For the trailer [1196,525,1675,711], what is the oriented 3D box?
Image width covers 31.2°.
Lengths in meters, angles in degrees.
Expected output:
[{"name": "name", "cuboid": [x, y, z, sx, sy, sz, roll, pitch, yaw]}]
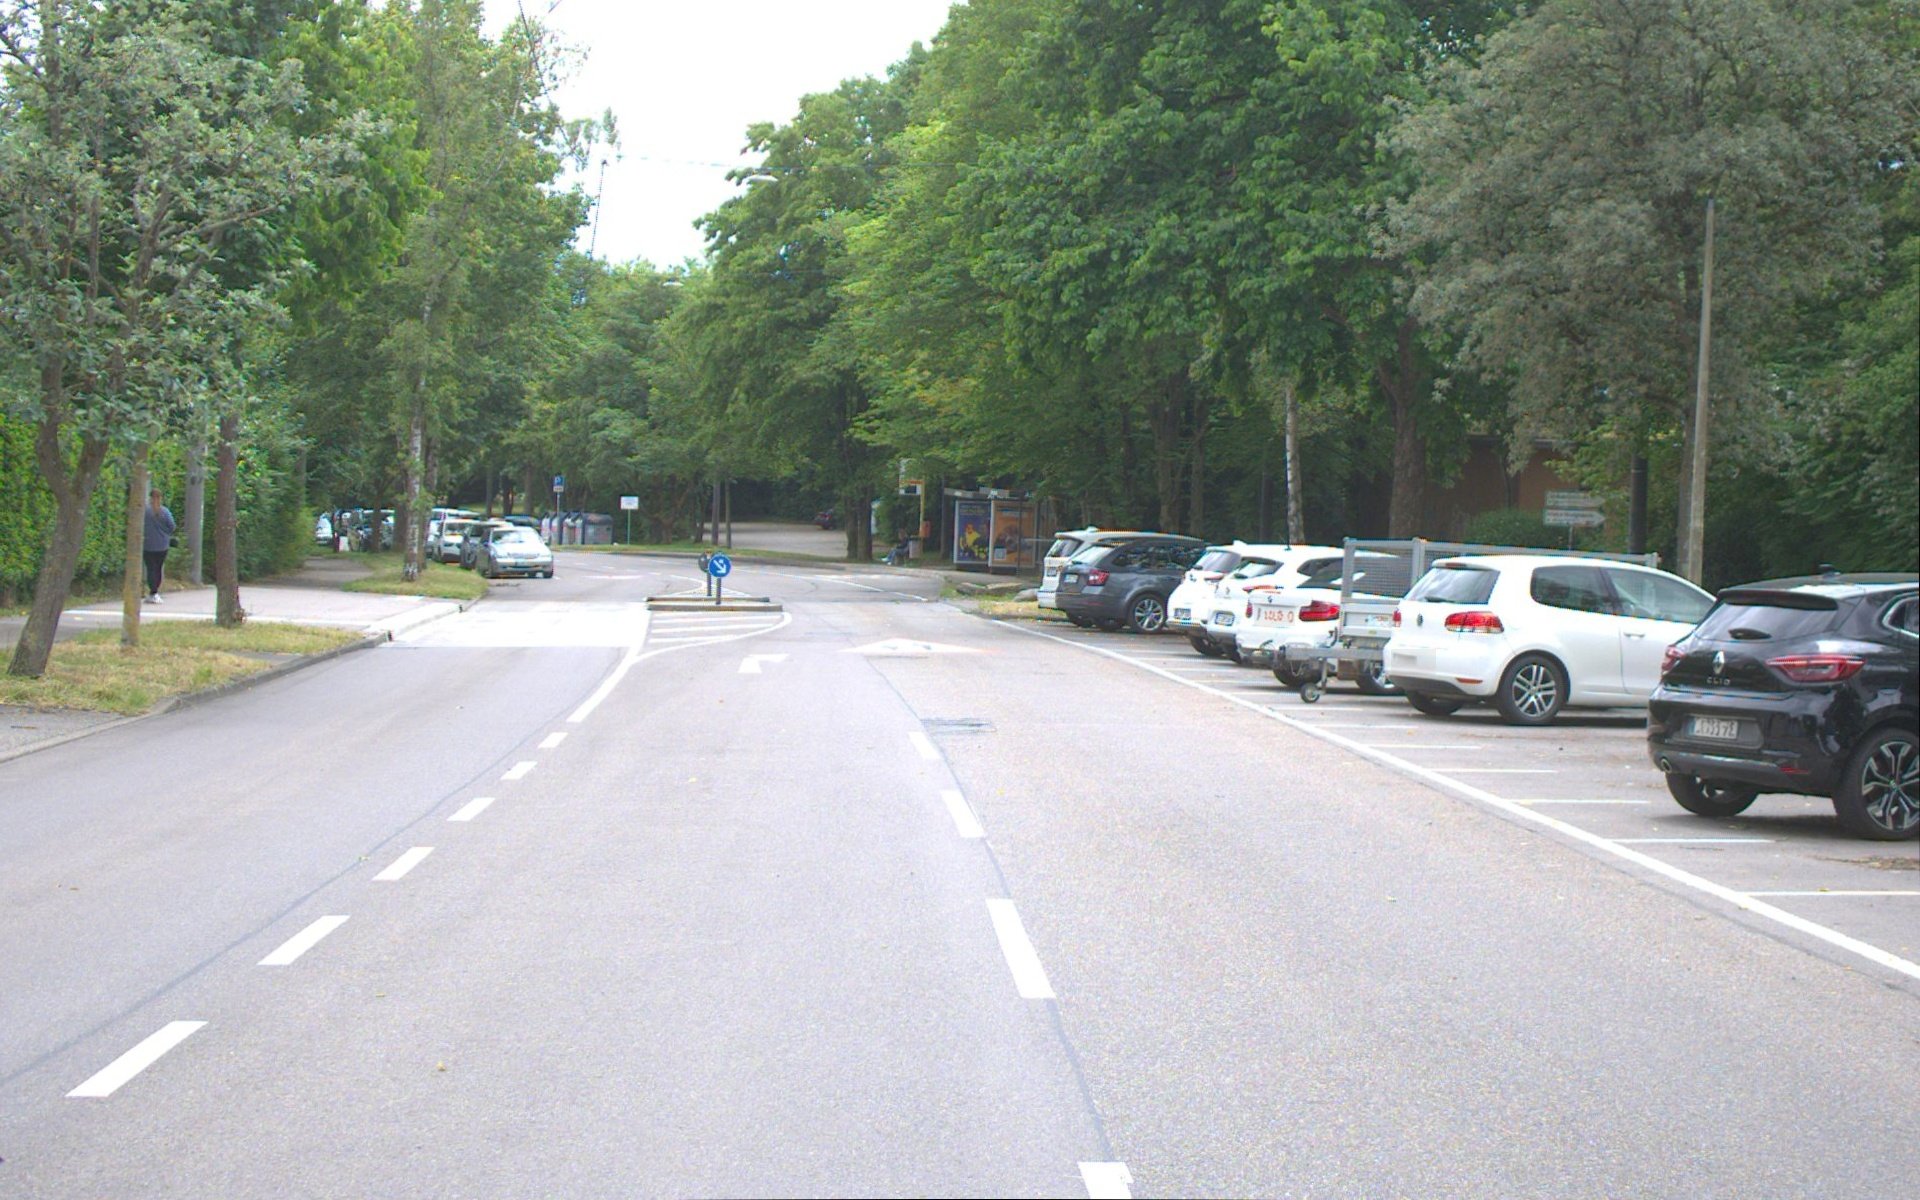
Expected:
[{"name": "trailer", "cuboid": [4.545, 0.167, 32.922, 4.153, 1.568, 1.712, 2, 1, -19]}]

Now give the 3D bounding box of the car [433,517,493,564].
[{"name": "car", "cuboid": [-16.357, -1.973, 113.224, 1.866, 1.466, 4.001, 1, 1, -8]}]

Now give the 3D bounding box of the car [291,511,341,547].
[{"name": "car", "cuboid": [-27.982, -3.098, 149.294, 1.866, 1.466, 4.001, 1, 1, -14]}]

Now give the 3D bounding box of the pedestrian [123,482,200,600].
[{"name": "pedestrian", "cuboid": [-11.964, -0.890, 51.524, 0.974, 1.724, 0.849, 1, 1, -4]}]

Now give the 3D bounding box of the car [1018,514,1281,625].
[{"name": "car", "cuboid": [3.121, -0.505, 56.746, 3.883, 1.662, 1.744, 2, 1, -20]}]

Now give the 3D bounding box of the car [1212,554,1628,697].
[{"name": "car", "cuboid": [4.766, 0.265, 35.614, 3.883, 1.305, 1.744, 2, 1, -25]}]

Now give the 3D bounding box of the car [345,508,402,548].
[{"name": "car", "cuboid": [-22.816, -2.798, 133.652, 1.866, 1.466, 4.001, 1, 1, -14]}]

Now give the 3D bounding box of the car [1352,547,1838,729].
[{"name": "car", "cuboid": [5.670, 0.337, 30.755, 3.883, 1.444, 1.744, 2, 1, -22]}]

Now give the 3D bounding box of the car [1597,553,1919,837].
[{"name": "car", "cuboid": [5.821, 0.544, 19.616, 3.883, 1.444, 1.845, 2, 1, -24]}]

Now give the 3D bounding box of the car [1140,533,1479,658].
[{"name": "car", "cuboid": [4.466, -0.058, 43.971, 3.883, 1.424, 1.744, 2, 1, -20]}]

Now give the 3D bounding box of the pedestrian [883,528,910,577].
[{"name": "pedestrian", "cuboid": [-2.055, -1.545, 111.579, 0.741, 1.564, 0.651, 2, 1, 10]}]

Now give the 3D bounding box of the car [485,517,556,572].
[{"name": "car", "cuboid": [-12.263, -1.561, 95.865, 1.866, 1.466, 4.001, 1, 1, -8]}]

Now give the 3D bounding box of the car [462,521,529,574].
[{"name": "car", "cuboid": [-13.697, -1.568, 101.400, 1.866, 1.466, 4.001, 1, 1, -8]}]

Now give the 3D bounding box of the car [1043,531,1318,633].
[{"name": "car", "cuboid": [3.453, -0.290, 53.963, 3.883, 1.424, 1.744, 2, 1, -20]}]

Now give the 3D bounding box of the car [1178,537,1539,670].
[{"name": "car", "cuboid": [4.789, 0.041, 41.398, 3.883, 1.424, 1.744, 2, 1, -20]}]
